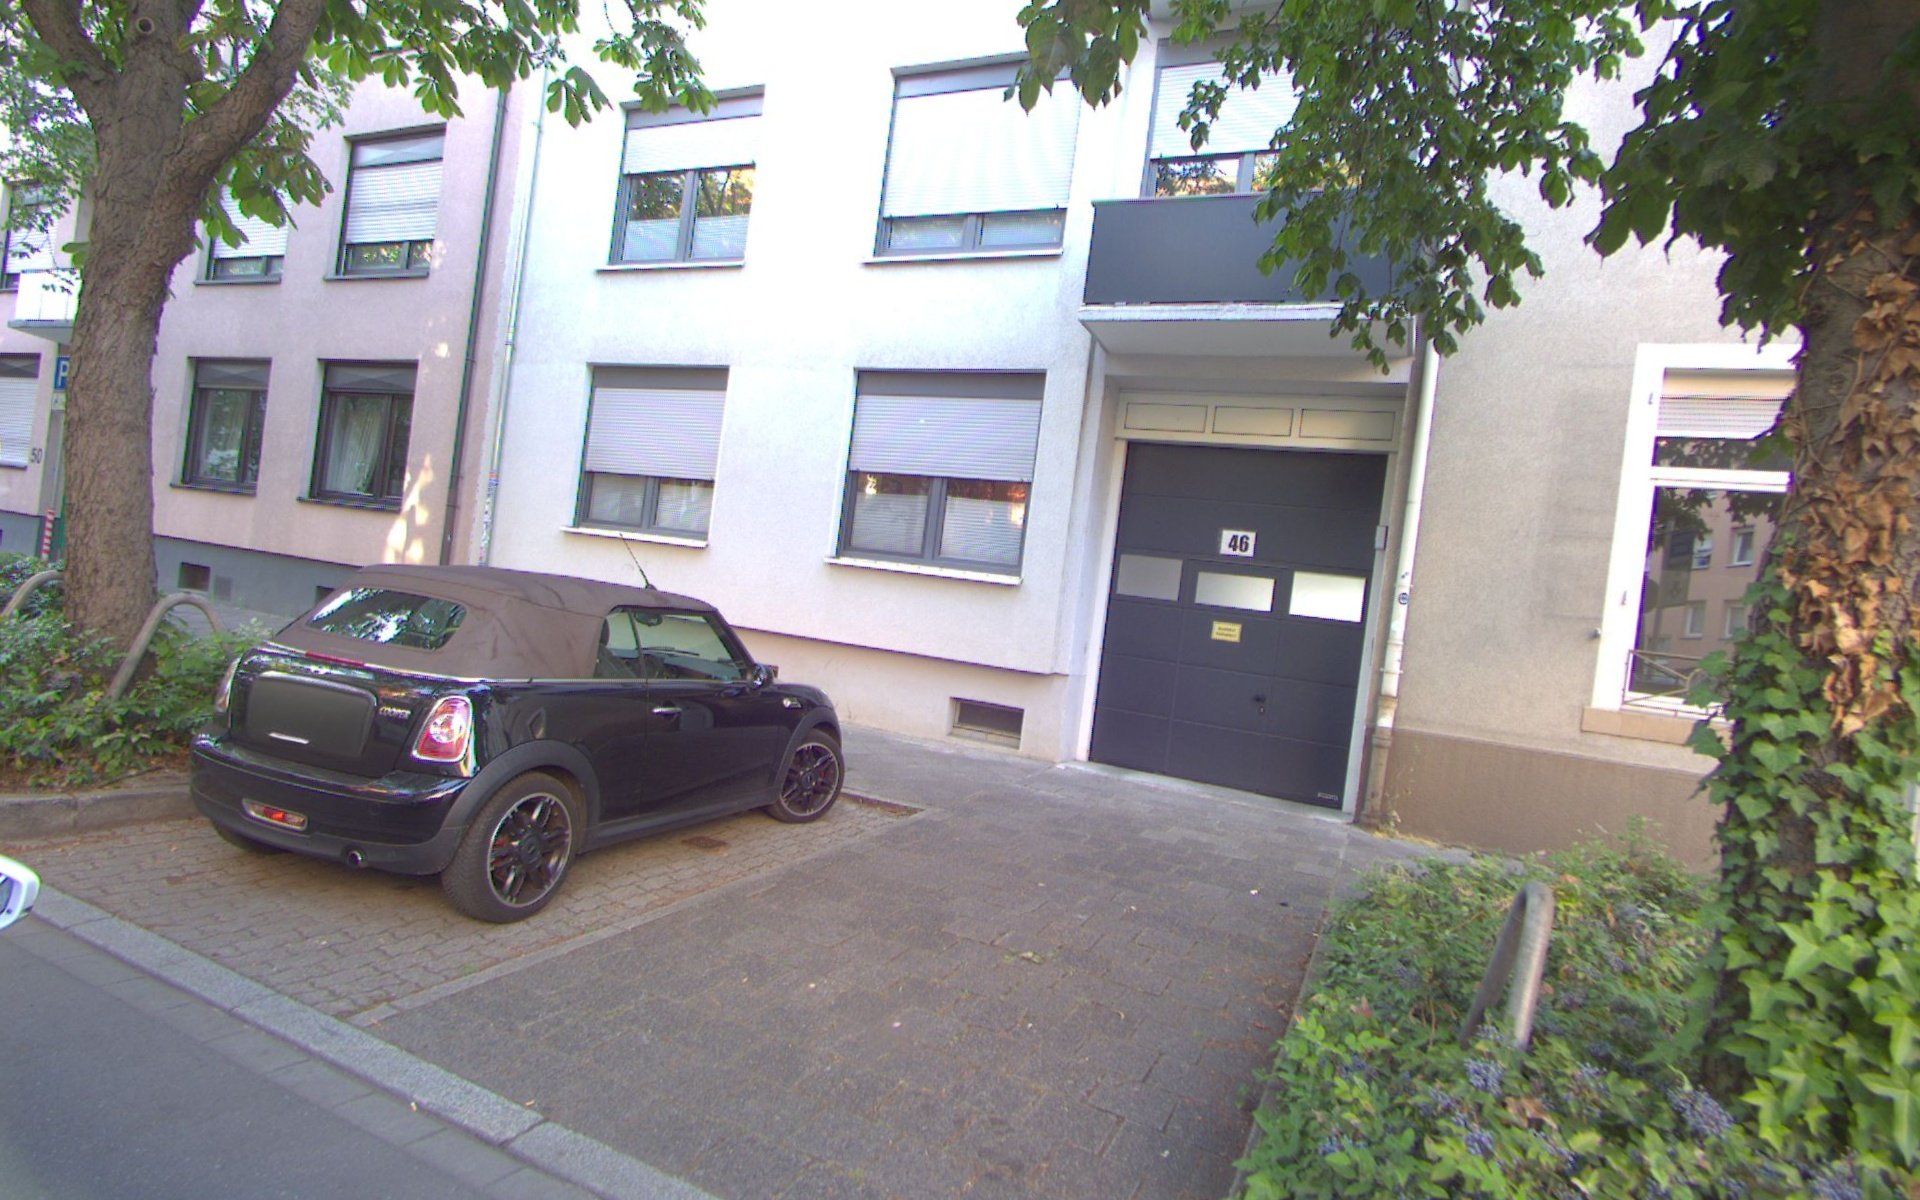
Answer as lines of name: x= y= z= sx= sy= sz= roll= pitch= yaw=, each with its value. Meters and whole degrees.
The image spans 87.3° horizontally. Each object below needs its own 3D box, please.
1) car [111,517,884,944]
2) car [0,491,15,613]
car: x=-2.021 y=0.550 z=5.532 sx=1.634 sy=1.380 sz=3.622 roll=7 pitch=-1 yaw=22
car: x=-13.349 y=-0.806 z=11.050 sx=1.634 sy=1.494 sz=3.921 roll=7 pitch=-1 yaw=24
